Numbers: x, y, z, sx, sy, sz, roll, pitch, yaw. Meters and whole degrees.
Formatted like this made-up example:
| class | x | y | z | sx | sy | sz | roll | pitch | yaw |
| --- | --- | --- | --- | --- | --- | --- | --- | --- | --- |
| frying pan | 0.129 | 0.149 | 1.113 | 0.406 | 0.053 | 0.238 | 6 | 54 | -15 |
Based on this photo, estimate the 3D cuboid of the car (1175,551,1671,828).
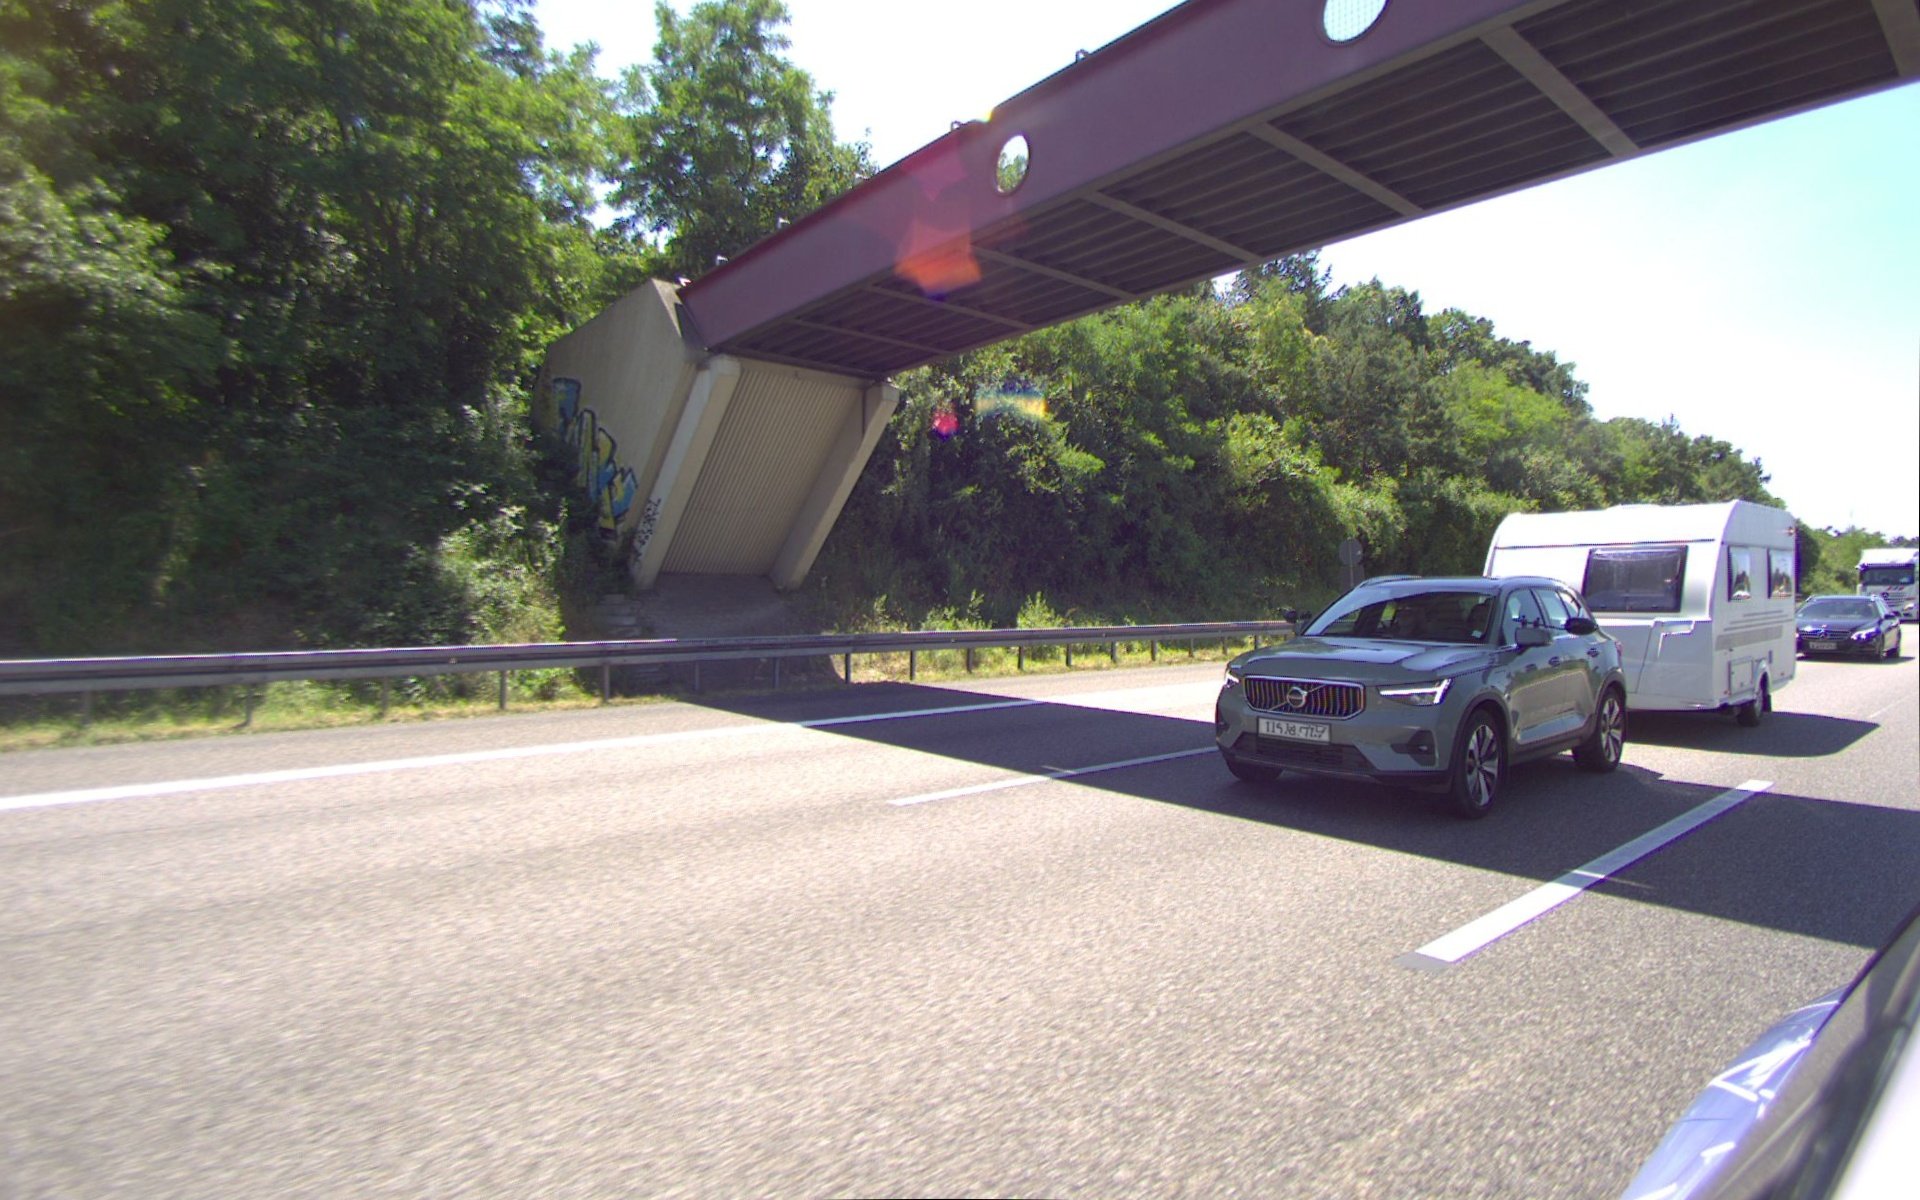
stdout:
| class | x | y | z | sx | sy | sz | roll | pitch | yaw |
| --- | --- | --- | --- | --- | --- | --- | --- | --- | --- |
| car | 3.938 | 0.495 | 8.190 | 4.619 | 1.632 | 1.883 | -1 | 1 | -40 |

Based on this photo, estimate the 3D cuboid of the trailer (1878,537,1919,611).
| class | x | y | z | sx | sy | sz | roll | pitch | yaw |
| --- | --- | --- | --- | --- | --- | --- | --- | --- | --- |
| trailer | 58.013 | -1.496 | 61.052 | 12.965 | 4.154 | 2.732 | 0 | 1 | -43 |

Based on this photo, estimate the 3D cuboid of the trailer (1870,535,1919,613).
| class | x | y | z | sx | sy | sz | roll | pitch | yaw |
| --- | --- | --- | --- | --- | --- | --- | --- | --- | --- |
| trailer | 52.976 | -1.413 | 56.408 | 6.673 | 4.154 | 2.717 | 0 | 1 | -42 |

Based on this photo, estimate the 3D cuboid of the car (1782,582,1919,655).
| class | x | y | z | sx | sy | sz | roll | pitch | yaw |
| --- | --- | --- | --- | --- | --- | --- | --- | --- | --- |
| car | 21.019 | 0.355 | 23.732 | 4.654 | 1.524 | 1.845 | -2 | 2 | -40 |

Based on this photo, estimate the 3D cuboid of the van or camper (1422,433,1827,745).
| class | x | y | z | sx | sy | sz | roll | pitch | yaw |
| --- | --- | --- | --- | --- | --- | --- | --- | --- | --- |
| van or camper | 7.993 | -0.135 | 11.814 | 6.241 | 2.708 | 2.443 | 0 | 1 | -42 |
